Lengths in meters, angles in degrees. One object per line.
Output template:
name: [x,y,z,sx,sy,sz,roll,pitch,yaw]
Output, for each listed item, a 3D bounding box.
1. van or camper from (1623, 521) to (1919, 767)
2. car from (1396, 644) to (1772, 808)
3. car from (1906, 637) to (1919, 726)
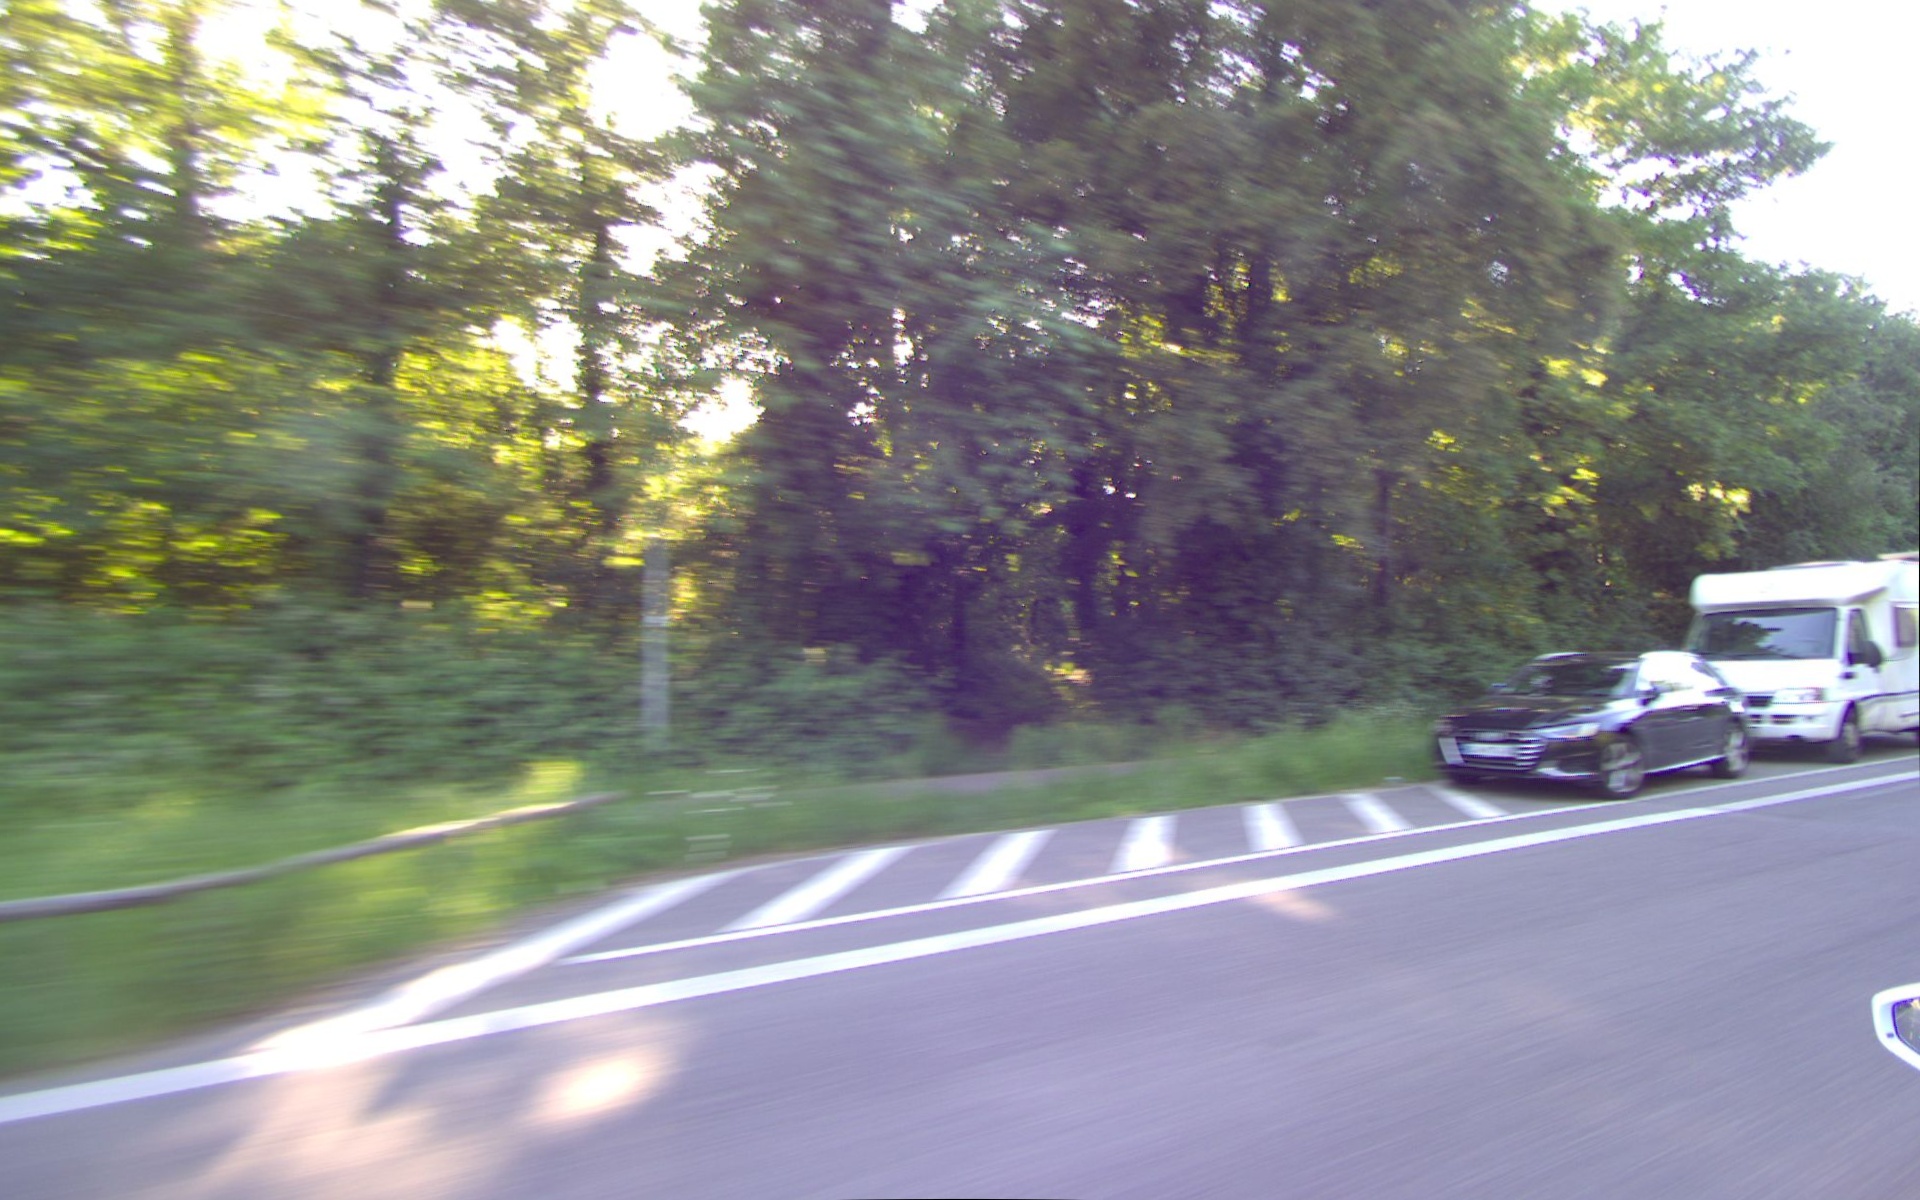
van or camper: [13.030,0.673,15.188,7.034,3.008,2.302,1,-4,-33]
car: [7.123,1.259,11.318,4.632,1.495,1.817,1,-3,-34]
car: [20.000,1.522,19.180,4.223,1.653,1.639,1,-4,-30]
